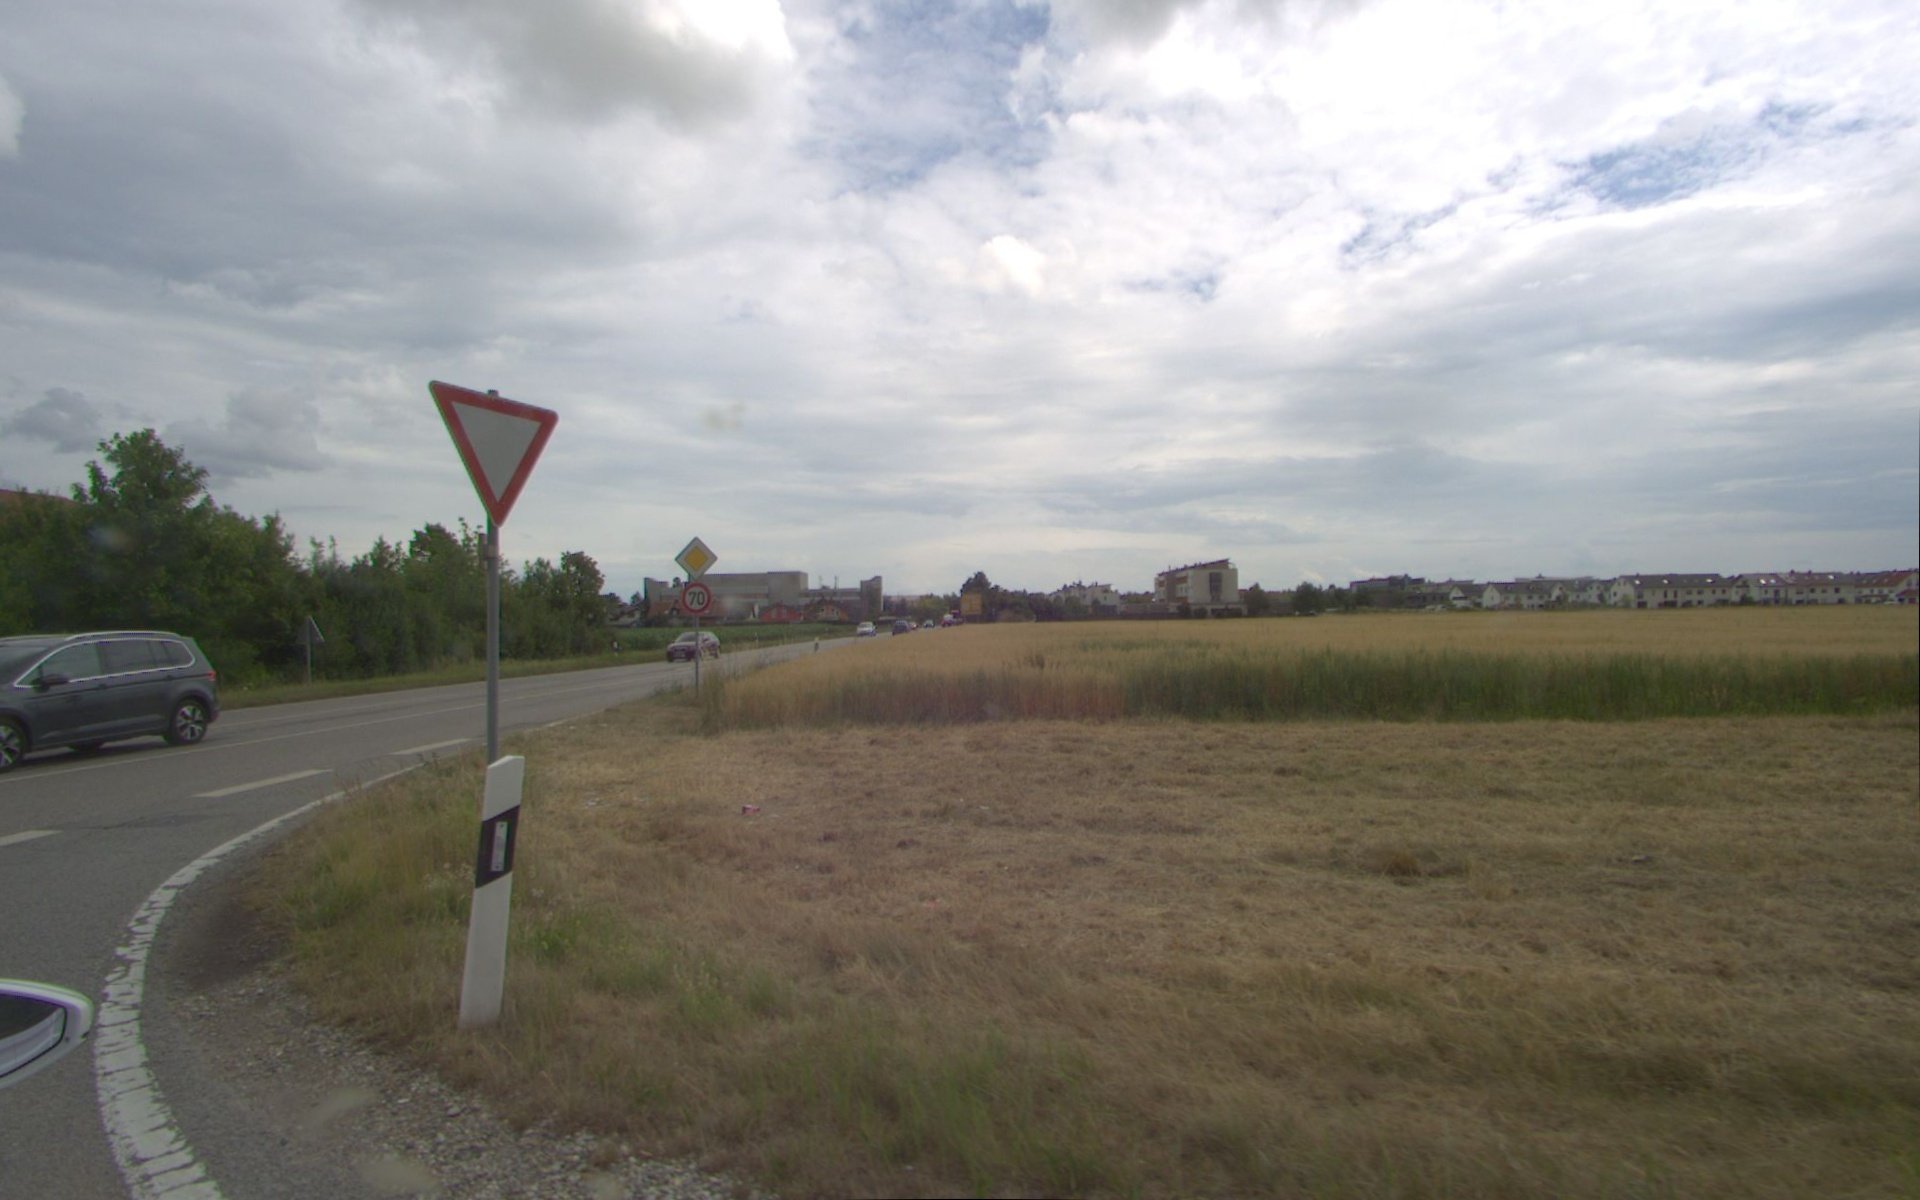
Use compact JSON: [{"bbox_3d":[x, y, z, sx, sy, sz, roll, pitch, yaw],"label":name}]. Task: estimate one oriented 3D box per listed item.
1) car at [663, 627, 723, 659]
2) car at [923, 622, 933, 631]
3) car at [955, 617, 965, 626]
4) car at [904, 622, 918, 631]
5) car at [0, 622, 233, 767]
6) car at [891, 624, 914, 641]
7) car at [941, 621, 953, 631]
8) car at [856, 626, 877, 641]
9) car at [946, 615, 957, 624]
[{"bbox_3d":[-13.313,2.140,50.155,1.645,1.420,4.089,-2,-1,3],"label":"car"},{"bbox_3d":[-5.993,4.955,188.161,1.642,1.447,4.304,-3,-1,2],"label":"car"},{"bbox_3d":[0.045,4.817,223.706,2.079,2.040,4.740,-1,0,3],"label":"car"},{"bbox_3d":[-7.374,4.008,151.068,1.742,1.257,4.212,-2,-1,1],"label":"car"},{"bbox_3d":[-12.071,1.174,13.174,1.720,1.680,4.291,-2,-1,2],"label":"car"},{"bbox_3d":[-5.965,3.371,104.335,1.828,1.586,4.000,-1,-1,5],"label":"car"},{"bbox_3d":[-2.321,4.594,178.034,1.828,1.750,4.000,-1,-1,5],"label":"car"},{"bbox_3d":[-10.029,3.592,107.469,1.701,1.450,3.935,-2,-1,2],"label":"car"},{"bbox_3d":[-1.629,3.872,199.671,1.828,1.750,4.000,-1,-1,5],"label":"car"}]
